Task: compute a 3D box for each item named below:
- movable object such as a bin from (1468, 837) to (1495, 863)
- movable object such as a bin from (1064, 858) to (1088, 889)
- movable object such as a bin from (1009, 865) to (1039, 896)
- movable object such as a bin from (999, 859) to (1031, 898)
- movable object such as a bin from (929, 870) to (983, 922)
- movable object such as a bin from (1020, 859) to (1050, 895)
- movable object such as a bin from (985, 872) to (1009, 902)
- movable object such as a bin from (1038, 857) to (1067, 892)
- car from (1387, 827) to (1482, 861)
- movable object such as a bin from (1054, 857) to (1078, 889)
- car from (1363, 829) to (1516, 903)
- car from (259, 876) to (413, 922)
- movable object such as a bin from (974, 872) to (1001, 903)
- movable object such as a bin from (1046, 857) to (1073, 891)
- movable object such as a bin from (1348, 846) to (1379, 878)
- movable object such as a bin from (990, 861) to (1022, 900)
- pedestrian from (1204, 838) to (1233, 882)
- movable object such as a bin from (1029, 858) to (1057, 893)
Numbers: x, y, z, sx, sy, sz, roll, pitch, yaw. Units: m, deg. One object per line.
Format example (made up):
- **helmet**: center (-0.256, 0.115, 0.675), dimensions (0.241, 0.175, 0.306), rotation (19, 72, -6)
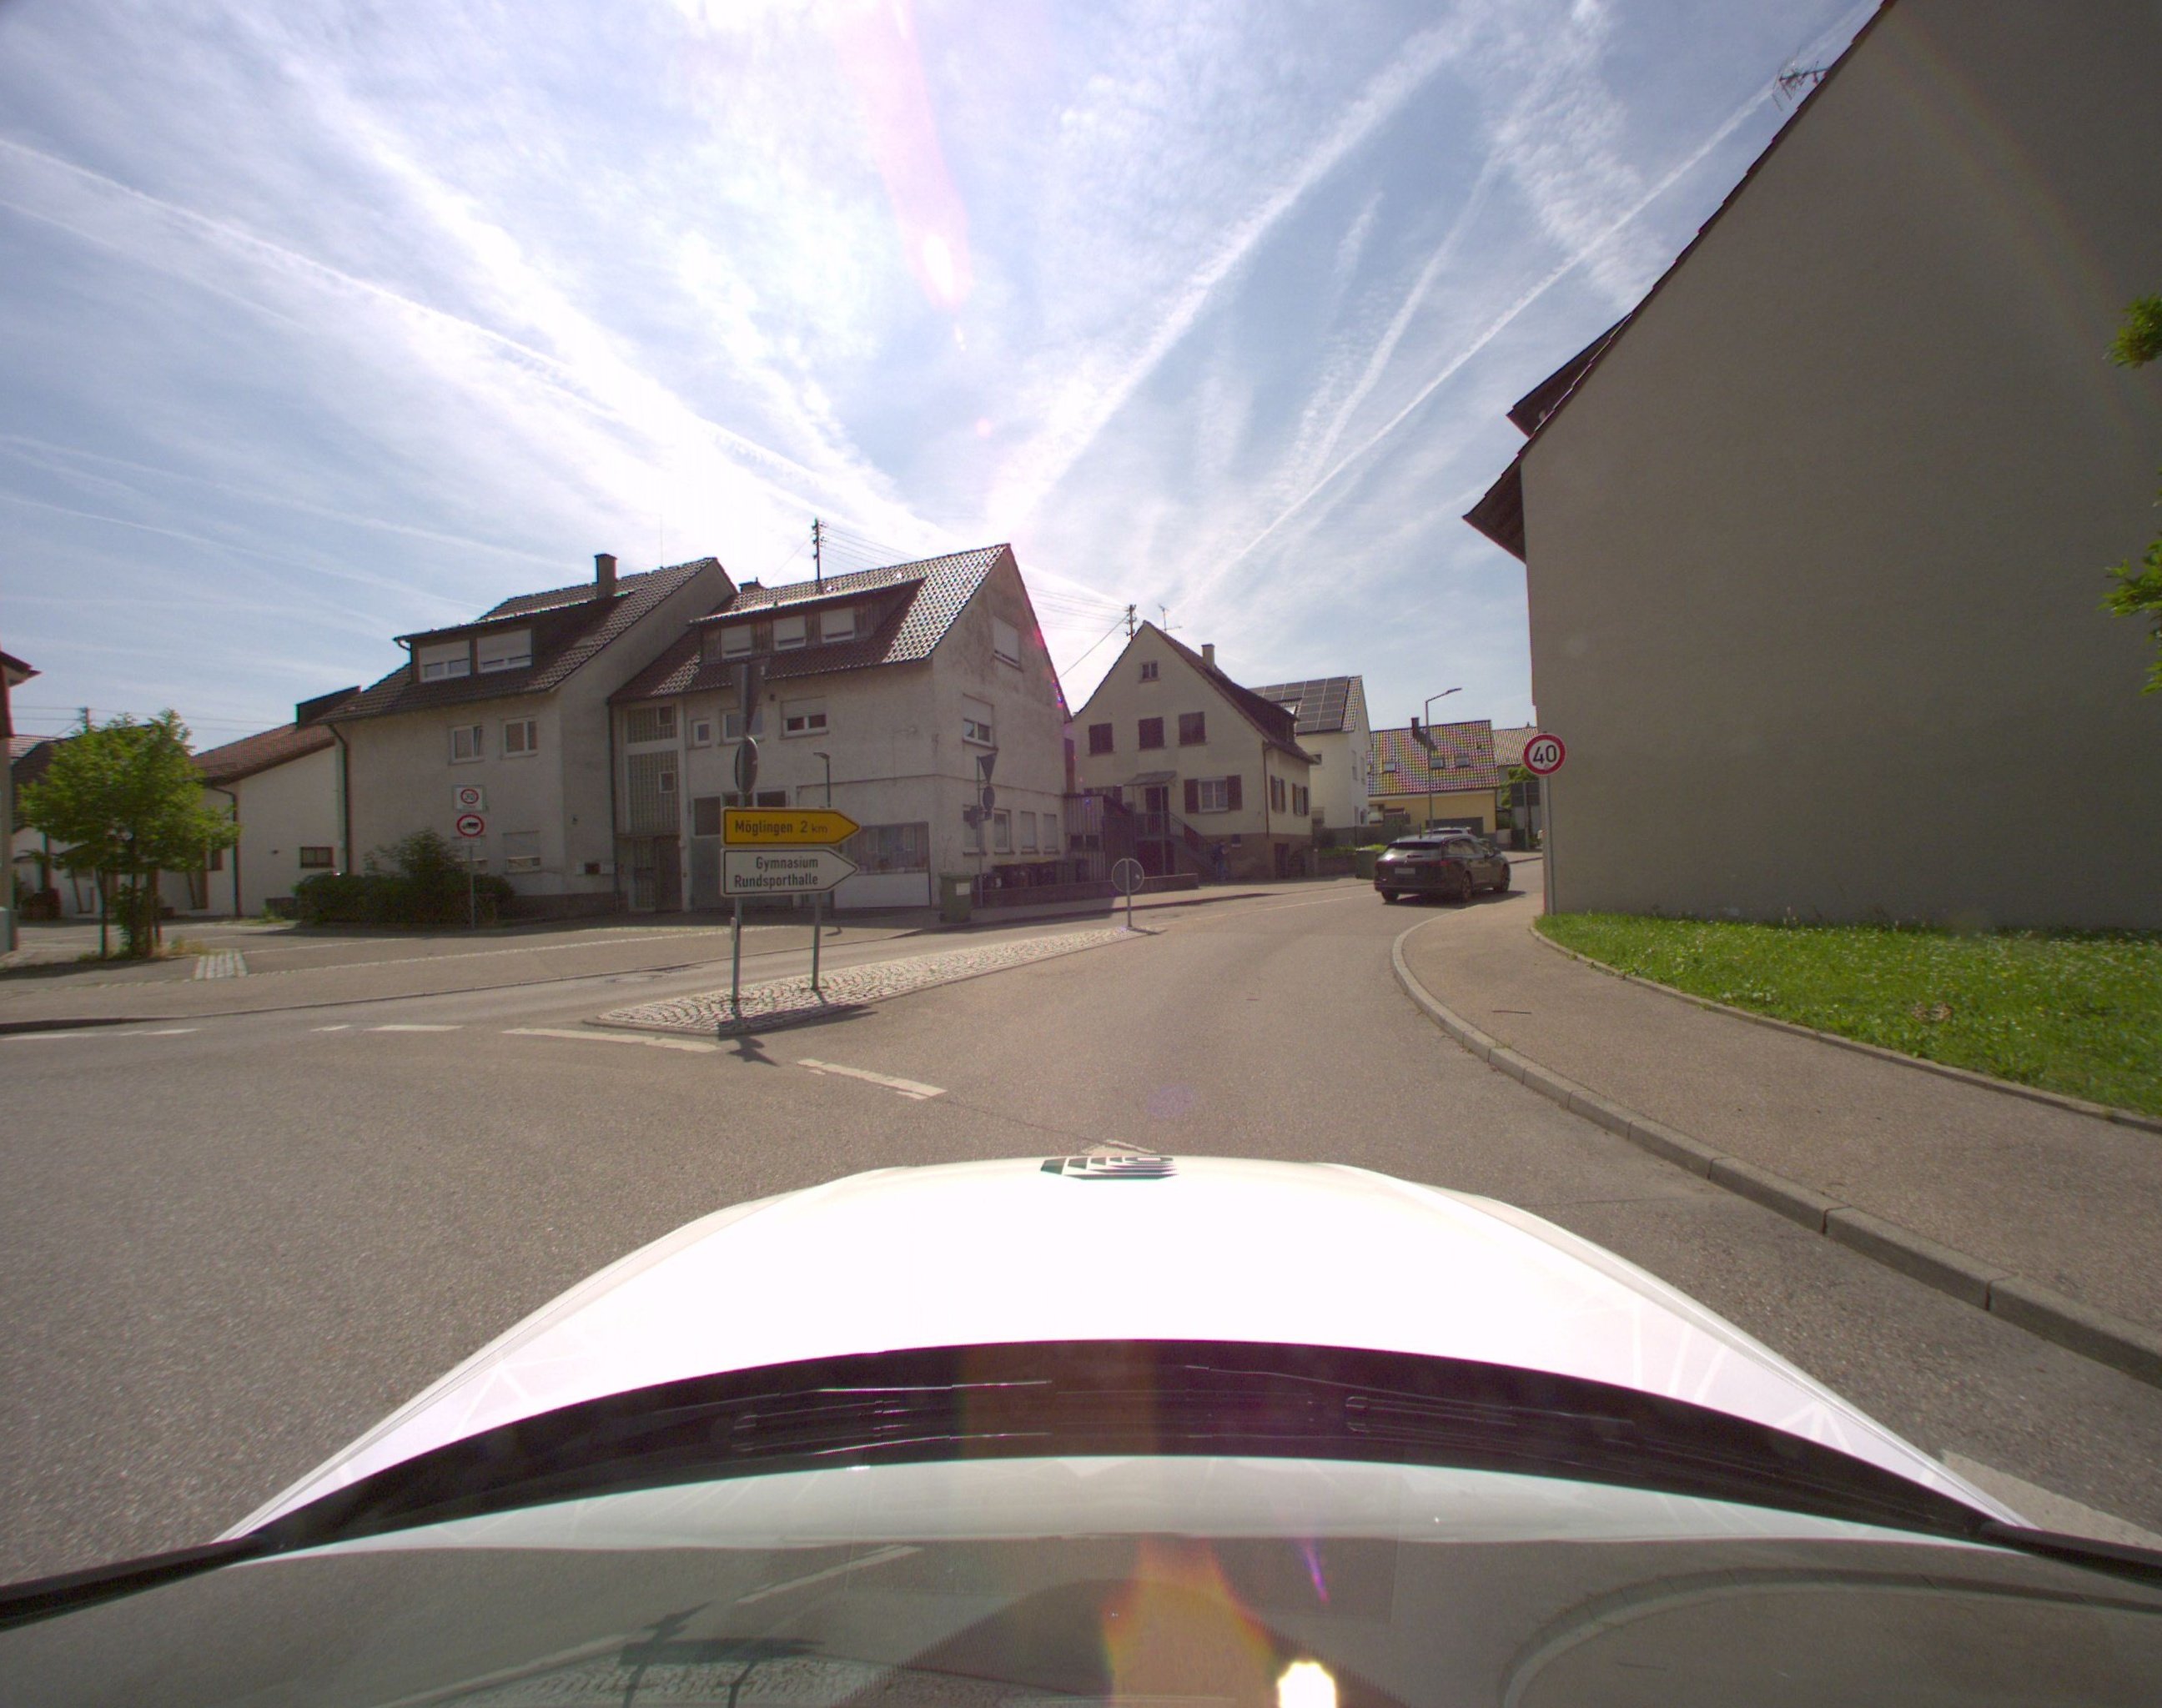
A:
- **movable object such as a bin**: center (17.755, -0.177, 36.134), dimensions (0.818, 1.077, 0.823), rotation (-2, 1, 45)
- **movable object such as a bin**: center (-0.161, 0.670, 28.423), dimensions (0.623, 1.034, 0.616), rotation (-2, 1, 18)
- **movable object such as a bin**: center (-1.734, 0.794, 24.787), dimensions (0.677, 0.896, 0.701), rotation (-2, 1, 18)
- **movable object such as a bin**: center (-1.954, 0.725, 24.099), dimensions (0.677, 1.086, 0.701), rotation (-2, 1, 18)
- **movable object such as a bin**: center (-2.703, 0.894, 17.597), dimensions (0.830, 1.045, 0.802), rotation (-3, 1, -35)
- **movable object such as a bin**: center (-1.430, 0.708, 25.458), dimensions (0.677, 1.082, 0.701), rotation (-2, 1, 18)
- **movable object such as a bin**: center (-2.358, 0.926, 22.884), dimensions (0.481, 0.780, 0.530), rotation (-2, 1, 18)
- **movable object such as a bin**: center (-0.934, 0.670, 26.605), dimensions (0.733, 1.082, 0.663), rotation (-2, 1, 18)
- **car**: center (18.900, -0.538, 43.617), dimensions (4.359, 1.622, 2.013), rotation (-2, 0, 32)
- **movable object such as a bin**: center (-0.499, 0.644, 27.882), dimensions (0.622, 1.035, 0.606), rotation (-2, 1, 18)
- **car**: center (8.338, 0.204, 18.679), dimensions (1.824, 1.420, 4.712), rotation (-2, 1, 42)
- **car**: center (-24.564, 1.452, 26.987), dimensions (1.475, 1.251, 3.428), rotation (-2, 1, 23)
- **movable object such as a bin**: center (-2.561, 0.910, 22.319), dimensions (0.481, 0.805, 0.650), rotation (-2, 1, 20)
- **movable object such as a bin**: center (-0.714, 0.664, 27.194), dimensions (0.673, 1.082, 0.586), rotation (-2, 0, 18)
- **movable object such as a bin**: center (9.897, 0.287, 28.505), dimensions (0.783, 1.057, 0.655), rotation (-3, 0, 41)
- **movable object such as a bin**: center (-2.162, 0.755, 23.446), dimensions (0.677, 1.086, 0.648), rotation (-2, 1, 18)
- **pedestrian**: center (5.060, 0.227, 29.931), dimensions (0.769, 1.574, 0.632), rotation (-2, 1, 36)
- **movable object such as a bin**: center (-1.229, 0.685, 26.116), dimensions (0.677, 1.082, 0.628), rotation (-2, 1, 18)
